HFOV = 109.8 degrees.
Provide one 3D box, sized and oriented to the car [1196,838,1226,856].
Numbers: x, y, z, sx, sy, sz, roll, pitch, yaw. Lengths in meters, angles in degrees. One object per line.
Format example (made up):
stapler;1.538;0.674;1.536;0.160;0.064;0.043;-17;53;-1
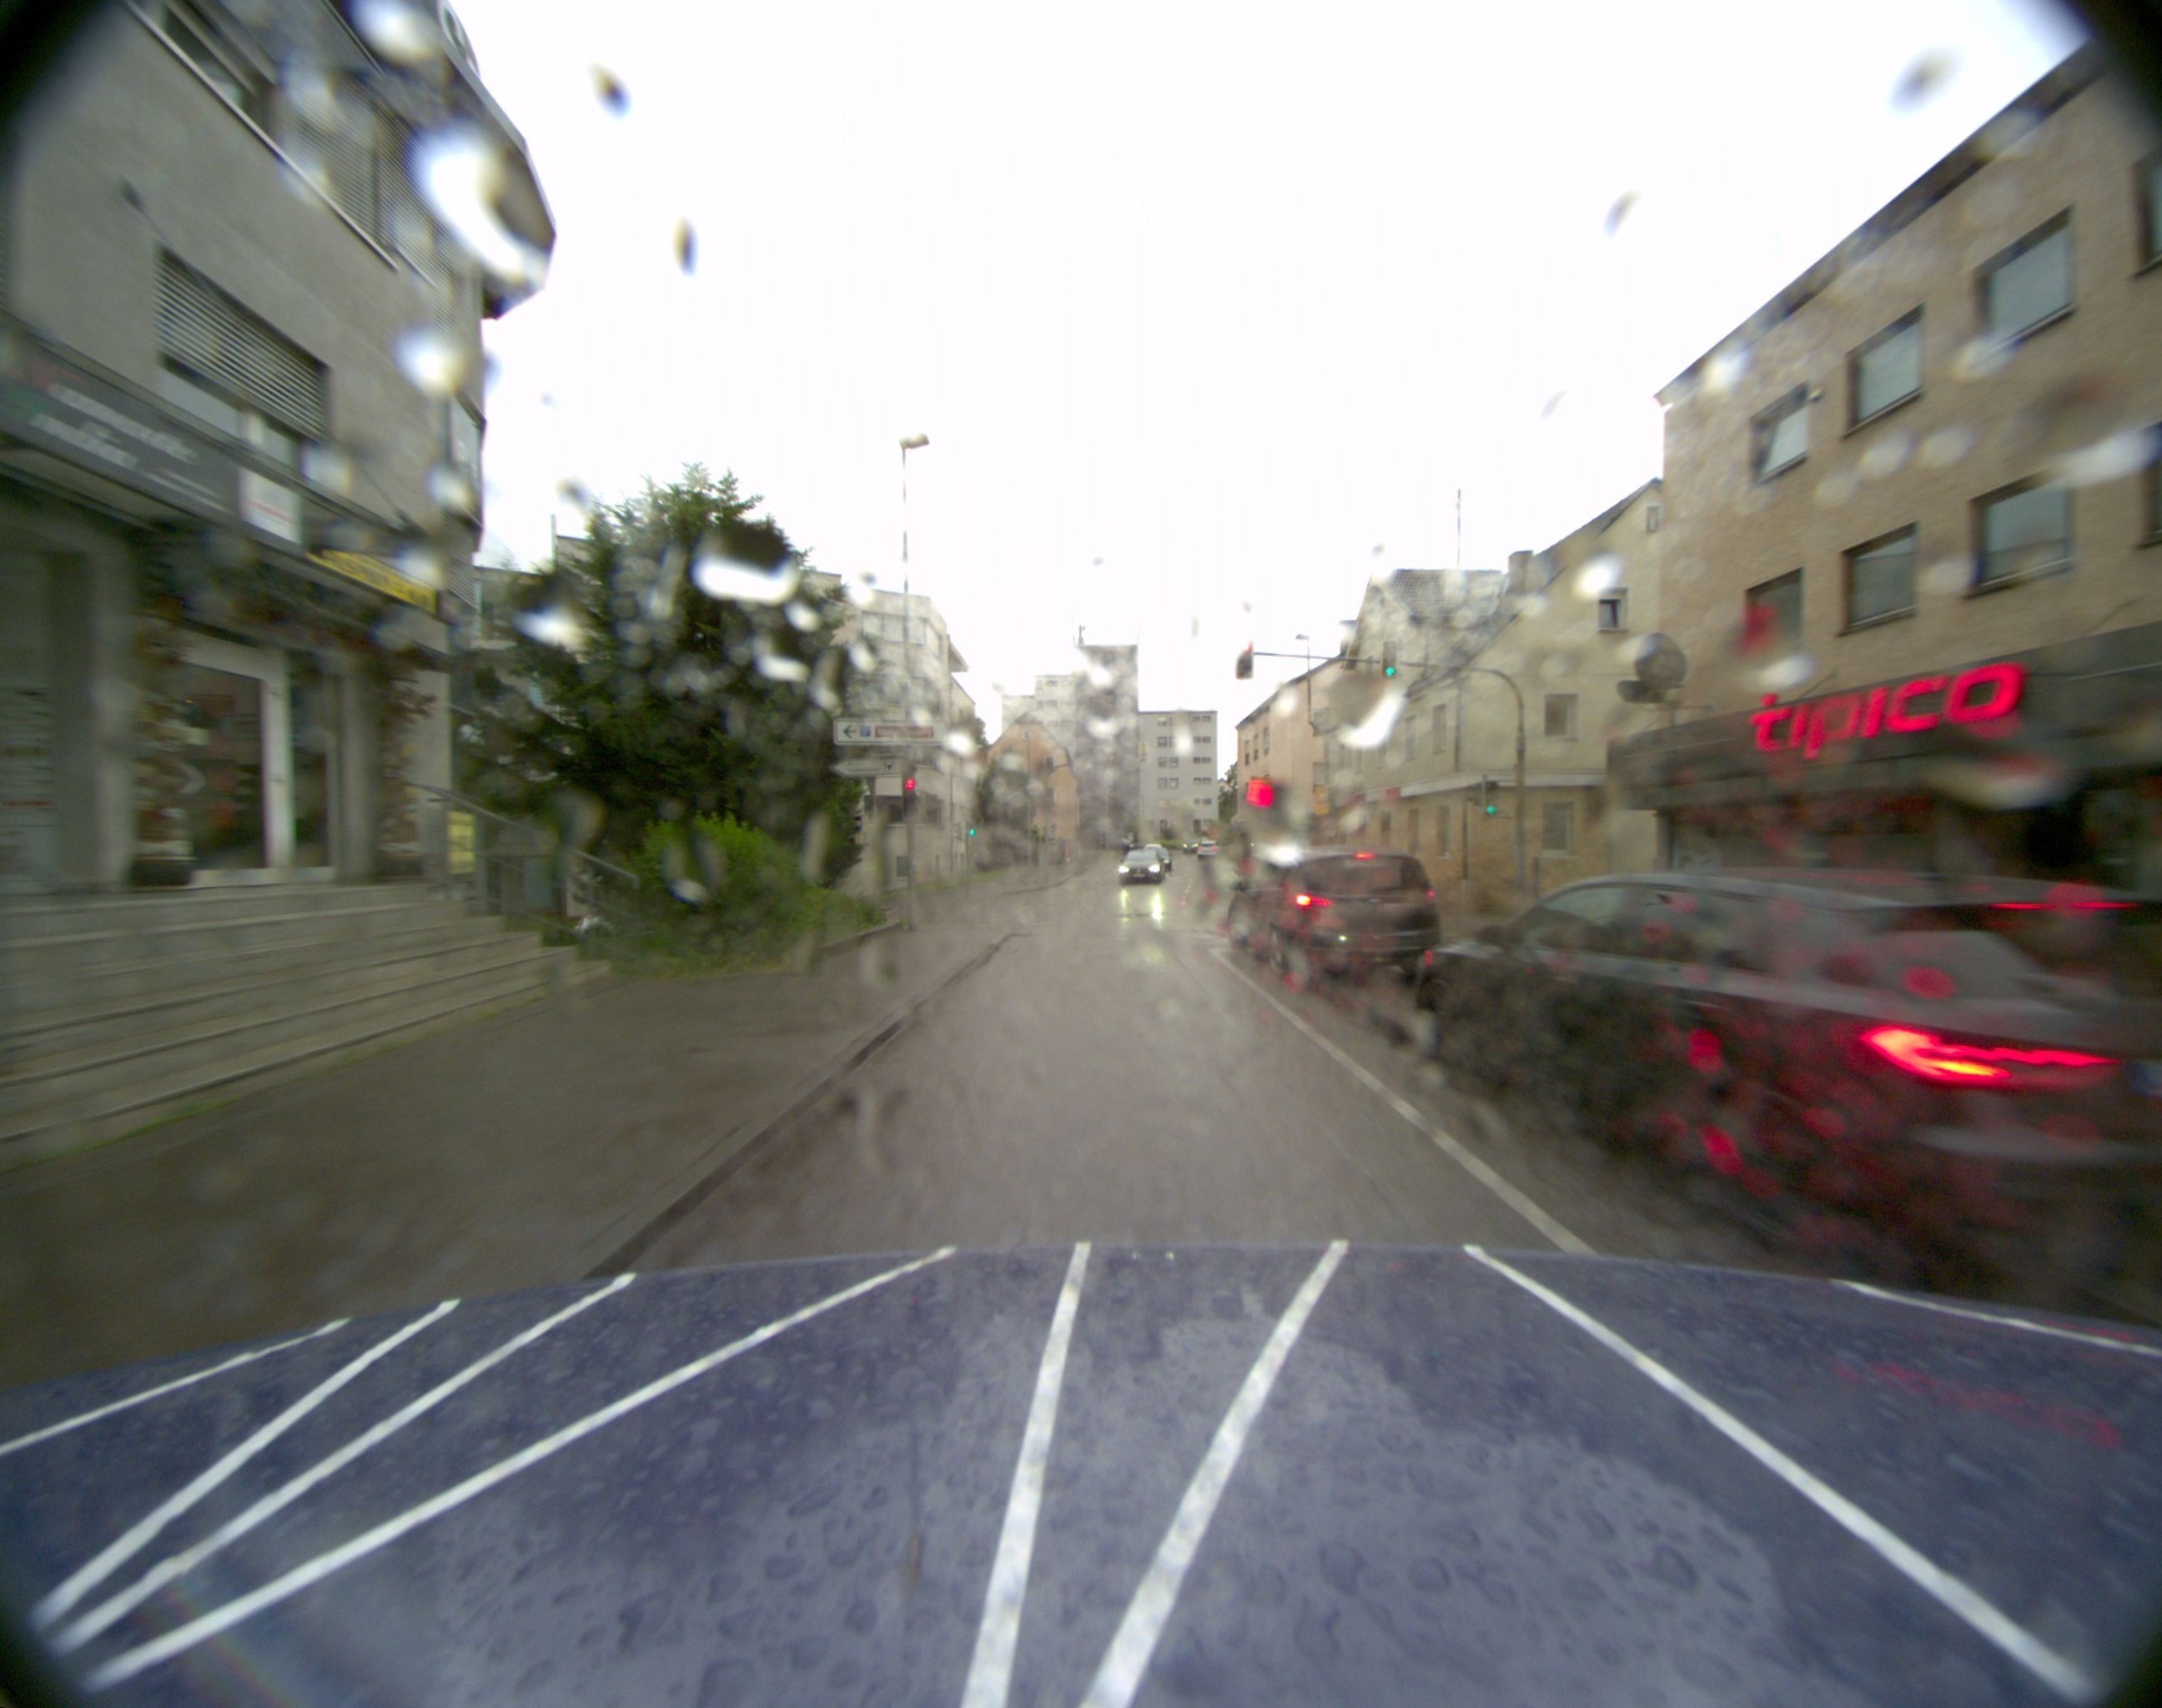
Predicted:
car;12.035;-0.694;70.105;1.959;1.527;4.005;-1;2;20

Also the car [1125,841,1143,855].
car;5.525;-0.637;80.160;1.686;1.452;4.000;-1;0;1

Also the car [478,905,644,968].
car;-15.766;2.474;23.293;3.842;1.443;1.787;-2;2;-22

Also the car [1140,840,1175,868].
car;4.734;0.003;47.224;1.998;1.652;4.001;-1;0;5

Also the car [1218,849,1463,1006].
car;3.154;0.799;10.233;1.820;1.635;4.275;-1;0;0

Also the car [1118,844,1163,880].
car;2.749;0.362;35.649;1.820;1.562;4.276;-1;0;1

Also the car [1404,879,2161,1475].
car;3.293;0.891;3.804;1.712;1.375;3.669;-1;0;-1

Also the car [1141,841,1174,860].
car;6.236;-0.292;61.515;1.684;1.413;4.006;-1;0;20

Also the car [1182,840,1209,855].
car;12.080;-0.690;80.200;1.683;1.452;4.007;-1;0;25
